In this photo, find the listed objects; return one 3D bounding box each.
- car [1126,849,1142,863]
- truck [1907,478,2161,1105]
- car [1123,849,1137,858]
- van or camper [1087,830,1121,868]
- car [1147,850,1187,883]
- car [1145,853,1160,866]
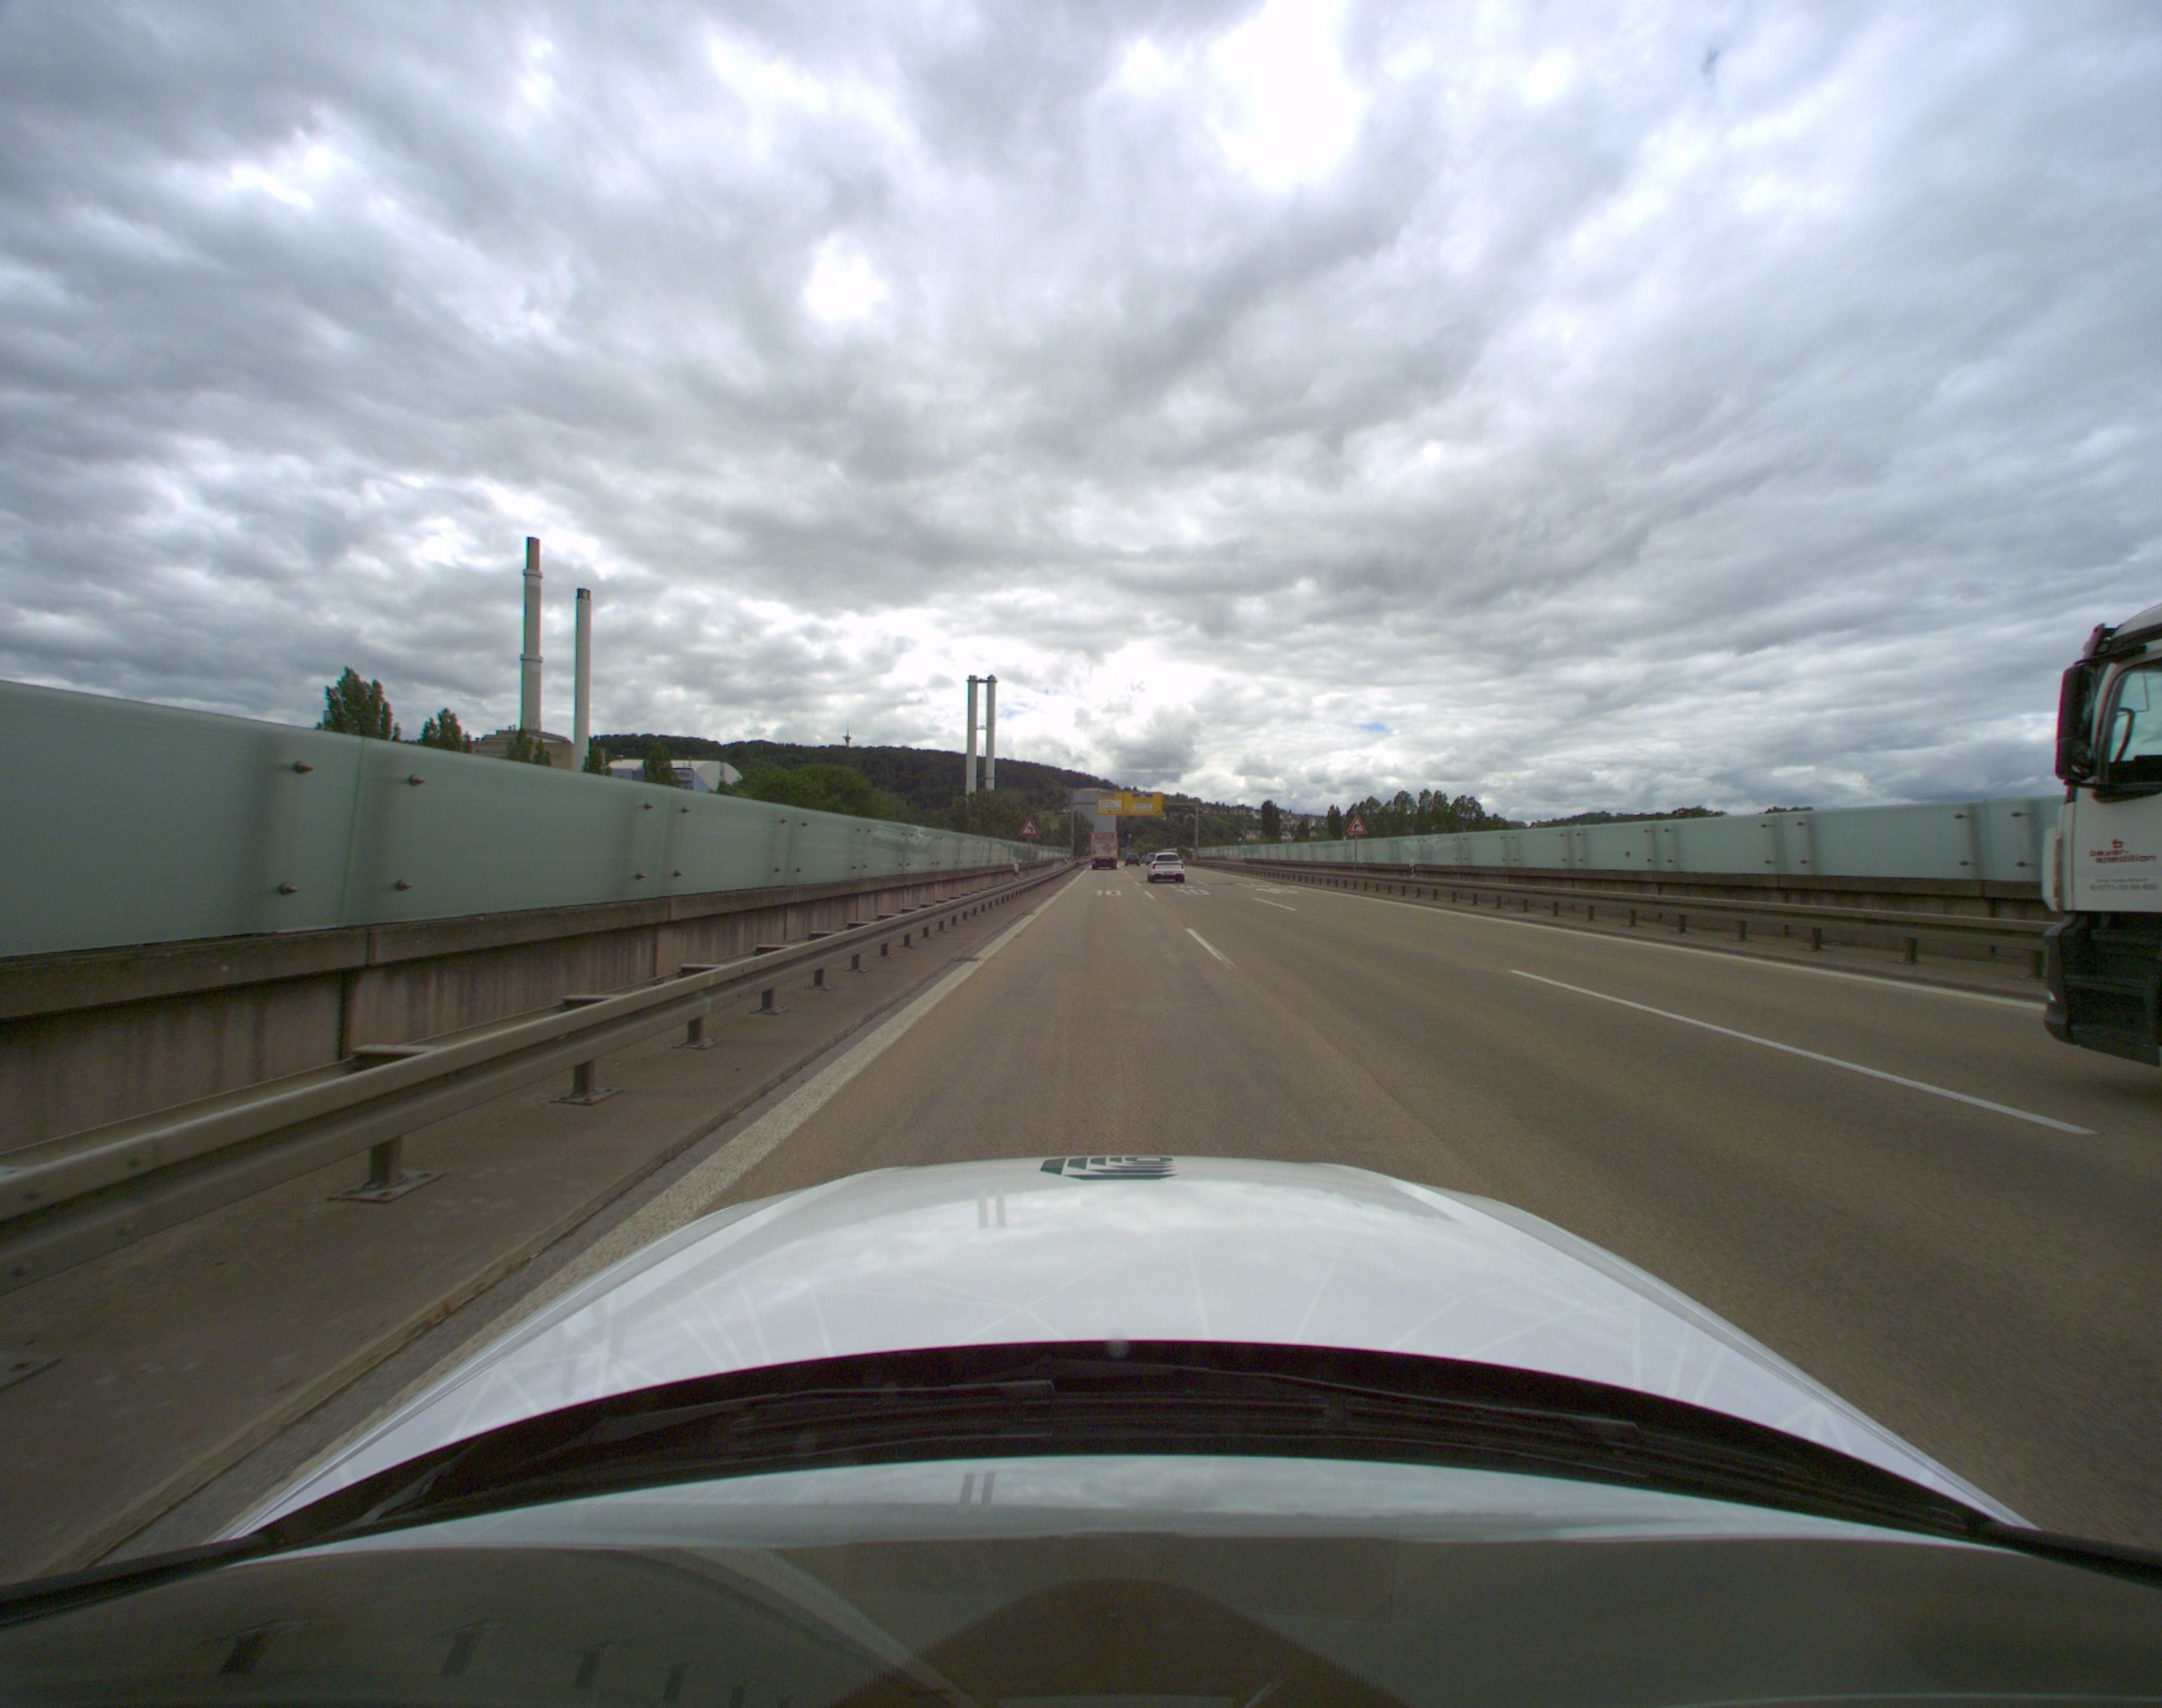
[{"bbox_3d":[6.767,0.252,104.885,1.916,1.785,4.115,0,0,2],"label":"car"},{"bbox_3d":[7.334,-0.377,3.497,2.621,3.514,4.906,-1,-1,2],"label":"truck"},{"bbox_3d":[10.960,-0.061,180.862,2.457,1.979,5.176,-1,0,11],"label":"car"},{"bbox_3d":[2.384,-0.468,80.643,3.109,3.579,8.556,-1,0,3],"label":"van or camper"},{"bbox_3d":[4.754,0.655,45.555,1.916,1.785,4.115,0,0,2],"label":"car"},{"bbox_3d":[10.053,0.746,114.123,1.916,1.785,4.116,0,0,2],"label":"car"}]
